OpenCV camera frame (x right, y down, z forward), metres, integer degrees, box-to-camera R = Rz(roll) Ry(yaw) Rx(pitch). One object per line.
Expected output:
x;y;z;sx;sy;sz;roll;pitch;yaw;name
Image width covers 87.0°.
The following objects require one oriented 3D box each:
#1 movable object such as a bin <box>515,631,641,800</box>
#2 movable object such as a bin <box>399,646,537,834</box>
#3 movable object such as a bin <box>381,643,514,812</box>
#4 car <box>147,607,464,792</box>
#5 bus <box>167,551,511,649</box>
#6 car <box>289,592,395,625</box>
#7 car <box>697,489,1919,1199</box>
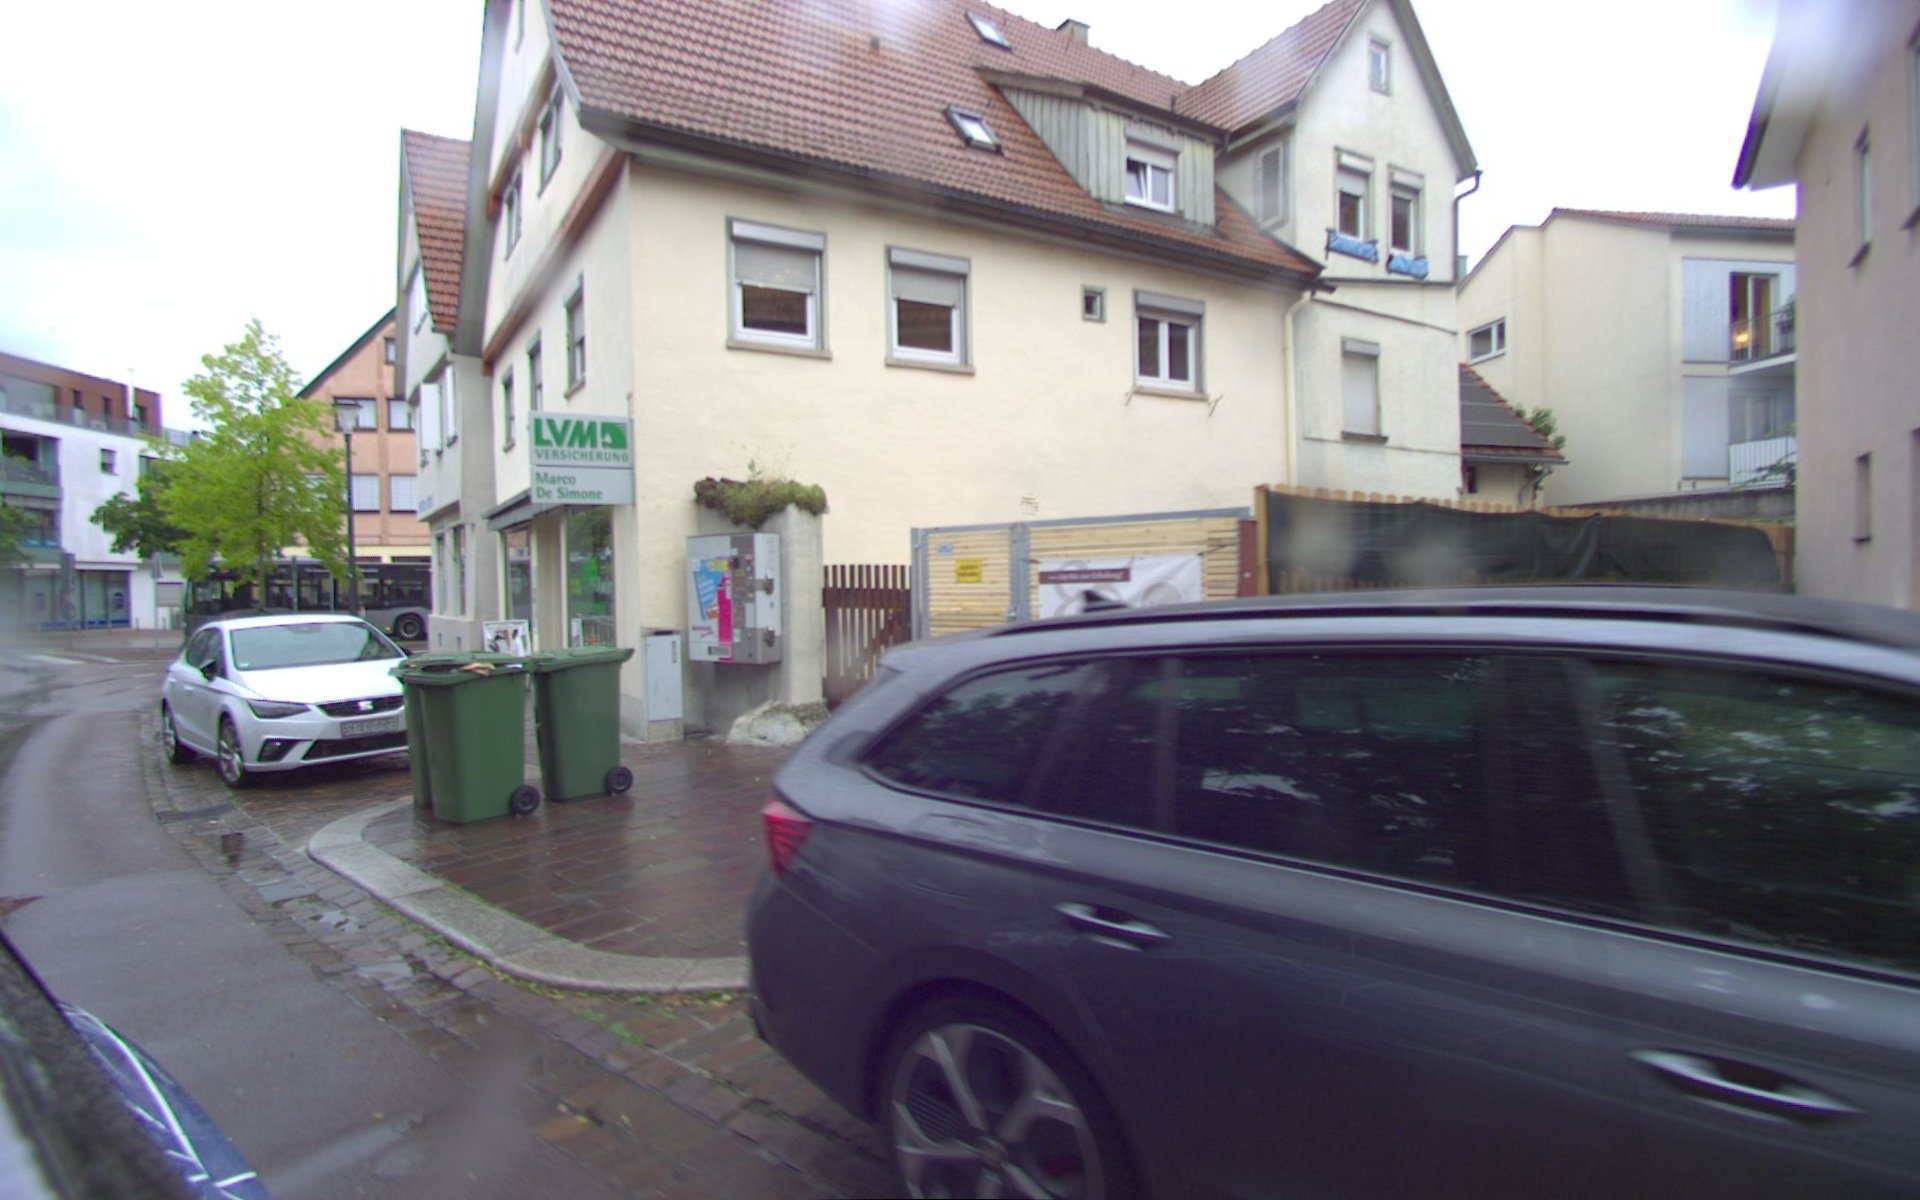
-2.767;0.800;7.328;0.651;1.117;0.624;-1;0;-44;movable object such as a bin
-3.265;0.885;6.718;0.651;1.117;0.624;-1;0;-44;movable object such as a bin
-3.720;0.892;7.354;0.684;1.095;0.547;-4;2;-45;movable object such as a bin
-6.495;0.822;9.882;3.816;1.433;1.672;-1;0;42;car
-22.473;-0.071;37.480;10.509;3.325;2.689;-1;0;-20;bus
-29.247;0.395;48.040;3.932;1.497;2.006;-1;0;-17;car
1.659;0.592;2.034;4.367;1.465;1.975;0;0;37;car
